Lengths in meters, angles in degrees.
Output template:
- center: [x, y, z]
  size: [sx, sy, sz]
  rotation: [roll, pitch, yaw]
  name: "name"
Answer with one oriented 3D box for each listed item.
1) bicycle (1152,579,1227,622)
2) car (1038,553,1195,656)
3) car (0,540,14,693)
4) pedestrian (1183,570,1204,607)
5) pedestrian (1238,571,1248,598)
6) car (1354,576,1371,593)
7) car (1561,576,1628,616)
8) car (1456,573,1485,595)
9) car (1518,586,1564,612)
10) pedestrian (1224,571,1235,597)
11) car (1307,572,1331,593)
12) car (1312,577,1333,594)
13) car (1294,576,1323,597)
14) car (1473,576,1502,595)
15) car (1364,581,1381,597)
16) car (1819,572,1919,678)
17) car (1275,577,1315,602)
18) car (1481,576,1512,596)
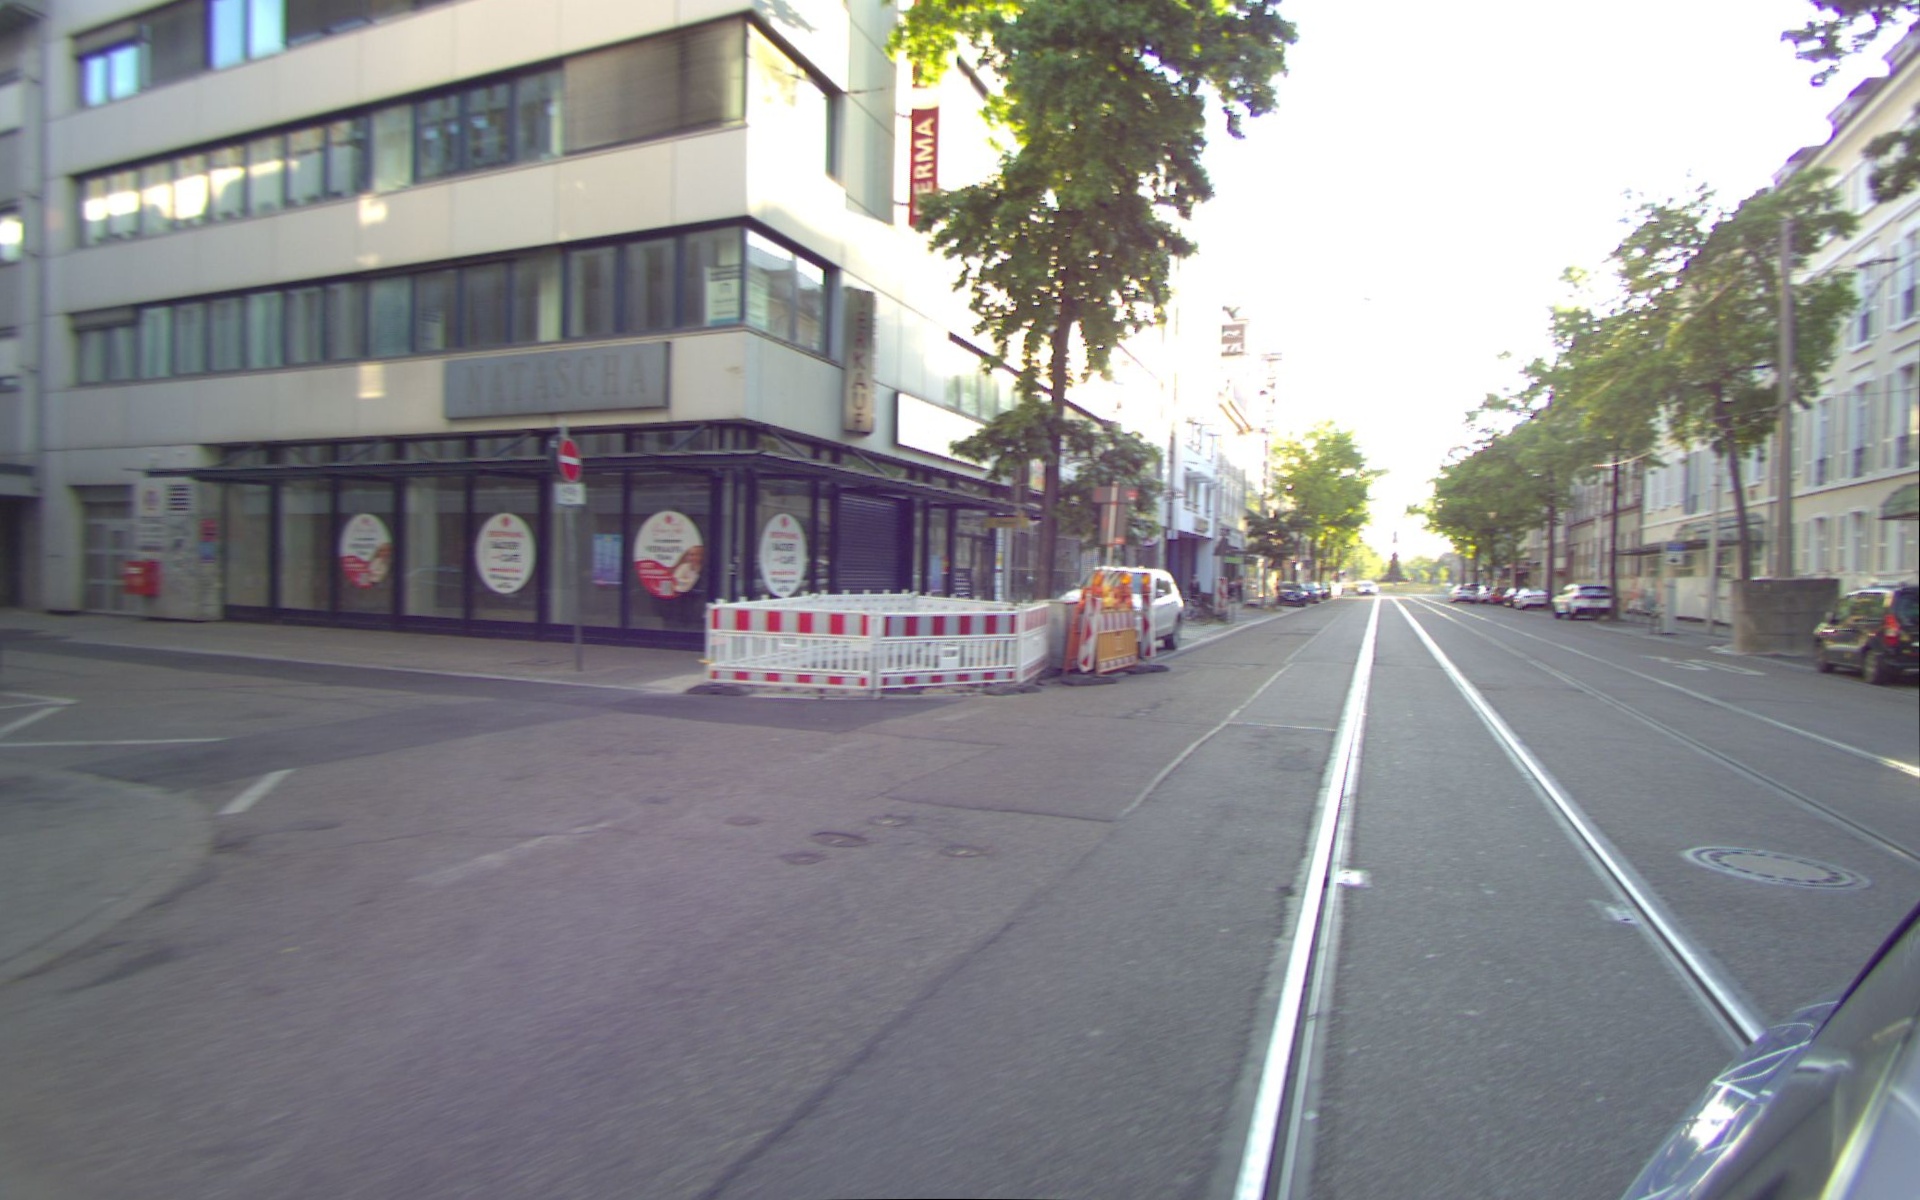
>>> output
- center: [7.310, -0.013, 32.206]
  size: [2.148, 1.172, 0.753]
  rotation: [5, 4, 30]
  name: "bicycle"
- center: [3.398, 0.026, 21.115]
  size: [1.980, 1.792, 4.631]
  rotation: [5, 3, 24]
  name: "car"
- center: [-12.458, 0.141, 10.957]
  size: [4.109, 1.632, 1.888]
  rotation: [2, 2, 26]
  name: "car"
- center: [10.455, -0.518, 45.257]
  size: [0.723, 1.577, 0.832]
  rotation: [3, 3, 25]
  name: "pedestrian"
- center: [16.998, -0.944, 60.800]
  size: [0.472, 1.575, 0.742]
  rotation: [2, 2, 23]
  name: "pedestrian"
- center: [45.418, -1.772, 114.198]
  size: [1.720, 1.759, 4.075]
  rotation: [2, 2, 22]
  name: "car"
- center: [29.946, -0.236, 47.867]
  size: [1.977, 1.759, 4.075]
  rotation: [2, 2, 22]
  name: "car"
- center: [43.104, -1.343, 85.536]
  size: [1.979, 1.759, 4.071]
  rotation: [2, 2, 24]
  name: "car"
- center: [36.976, -0.077, 64.503]
  size: [1.977, 1.522, 4.075]
  rotation: [2, 2, 22]
  name: "car"
- center: [16.259, -0.961, 61.017]
  size: [0.472, 1.566, 0.742]
  rotation: [2, 2, 23]
  name: "pedestrian"
- center: [30.849, -1.542, 86.891]
  size: [1.880, 1.713, 4.079]
  rotation: [2, 2, 20]
  name: "car"
- center: [32.954, -1.324, 91.858]
  size: [1.667, 1.498, 3.820]
  rotation: [2, 2, 21]
  name: "car"
- center: [24.457, -0.990, 70.944]
  size: [1.719, 1.335, 4.076]
  rotation: [4, 3, 21]
  name: "car"
- center: [46.370, -1.322, 88.981]
  size: [1.979, 1.568, 4.071]
  rotation: [2, 2, 24]
  name: "car"
- center: [48.396, -1.274, 118.650]
  size: [1.719, 1.759, 4.076]
  rotation: [2, 2, 21]
  name: "car"
- center: [17.459, 0.379, 18.496]
  size: [1.756, 1.787, 3.843]
  rotation: [-1, 1, 26]
  name: "car"
- center: [20.608, -0.653, 62.219]
  size: [1.982, 1.379, 4.075]
  rotation: [4, 3, 22]
  name: "car"
- center: [44.192, -1.194, 83.441]
  size: [1.979, 1.596, 4.071]
  rotation: [2, 2, 24]
  name: "car"
